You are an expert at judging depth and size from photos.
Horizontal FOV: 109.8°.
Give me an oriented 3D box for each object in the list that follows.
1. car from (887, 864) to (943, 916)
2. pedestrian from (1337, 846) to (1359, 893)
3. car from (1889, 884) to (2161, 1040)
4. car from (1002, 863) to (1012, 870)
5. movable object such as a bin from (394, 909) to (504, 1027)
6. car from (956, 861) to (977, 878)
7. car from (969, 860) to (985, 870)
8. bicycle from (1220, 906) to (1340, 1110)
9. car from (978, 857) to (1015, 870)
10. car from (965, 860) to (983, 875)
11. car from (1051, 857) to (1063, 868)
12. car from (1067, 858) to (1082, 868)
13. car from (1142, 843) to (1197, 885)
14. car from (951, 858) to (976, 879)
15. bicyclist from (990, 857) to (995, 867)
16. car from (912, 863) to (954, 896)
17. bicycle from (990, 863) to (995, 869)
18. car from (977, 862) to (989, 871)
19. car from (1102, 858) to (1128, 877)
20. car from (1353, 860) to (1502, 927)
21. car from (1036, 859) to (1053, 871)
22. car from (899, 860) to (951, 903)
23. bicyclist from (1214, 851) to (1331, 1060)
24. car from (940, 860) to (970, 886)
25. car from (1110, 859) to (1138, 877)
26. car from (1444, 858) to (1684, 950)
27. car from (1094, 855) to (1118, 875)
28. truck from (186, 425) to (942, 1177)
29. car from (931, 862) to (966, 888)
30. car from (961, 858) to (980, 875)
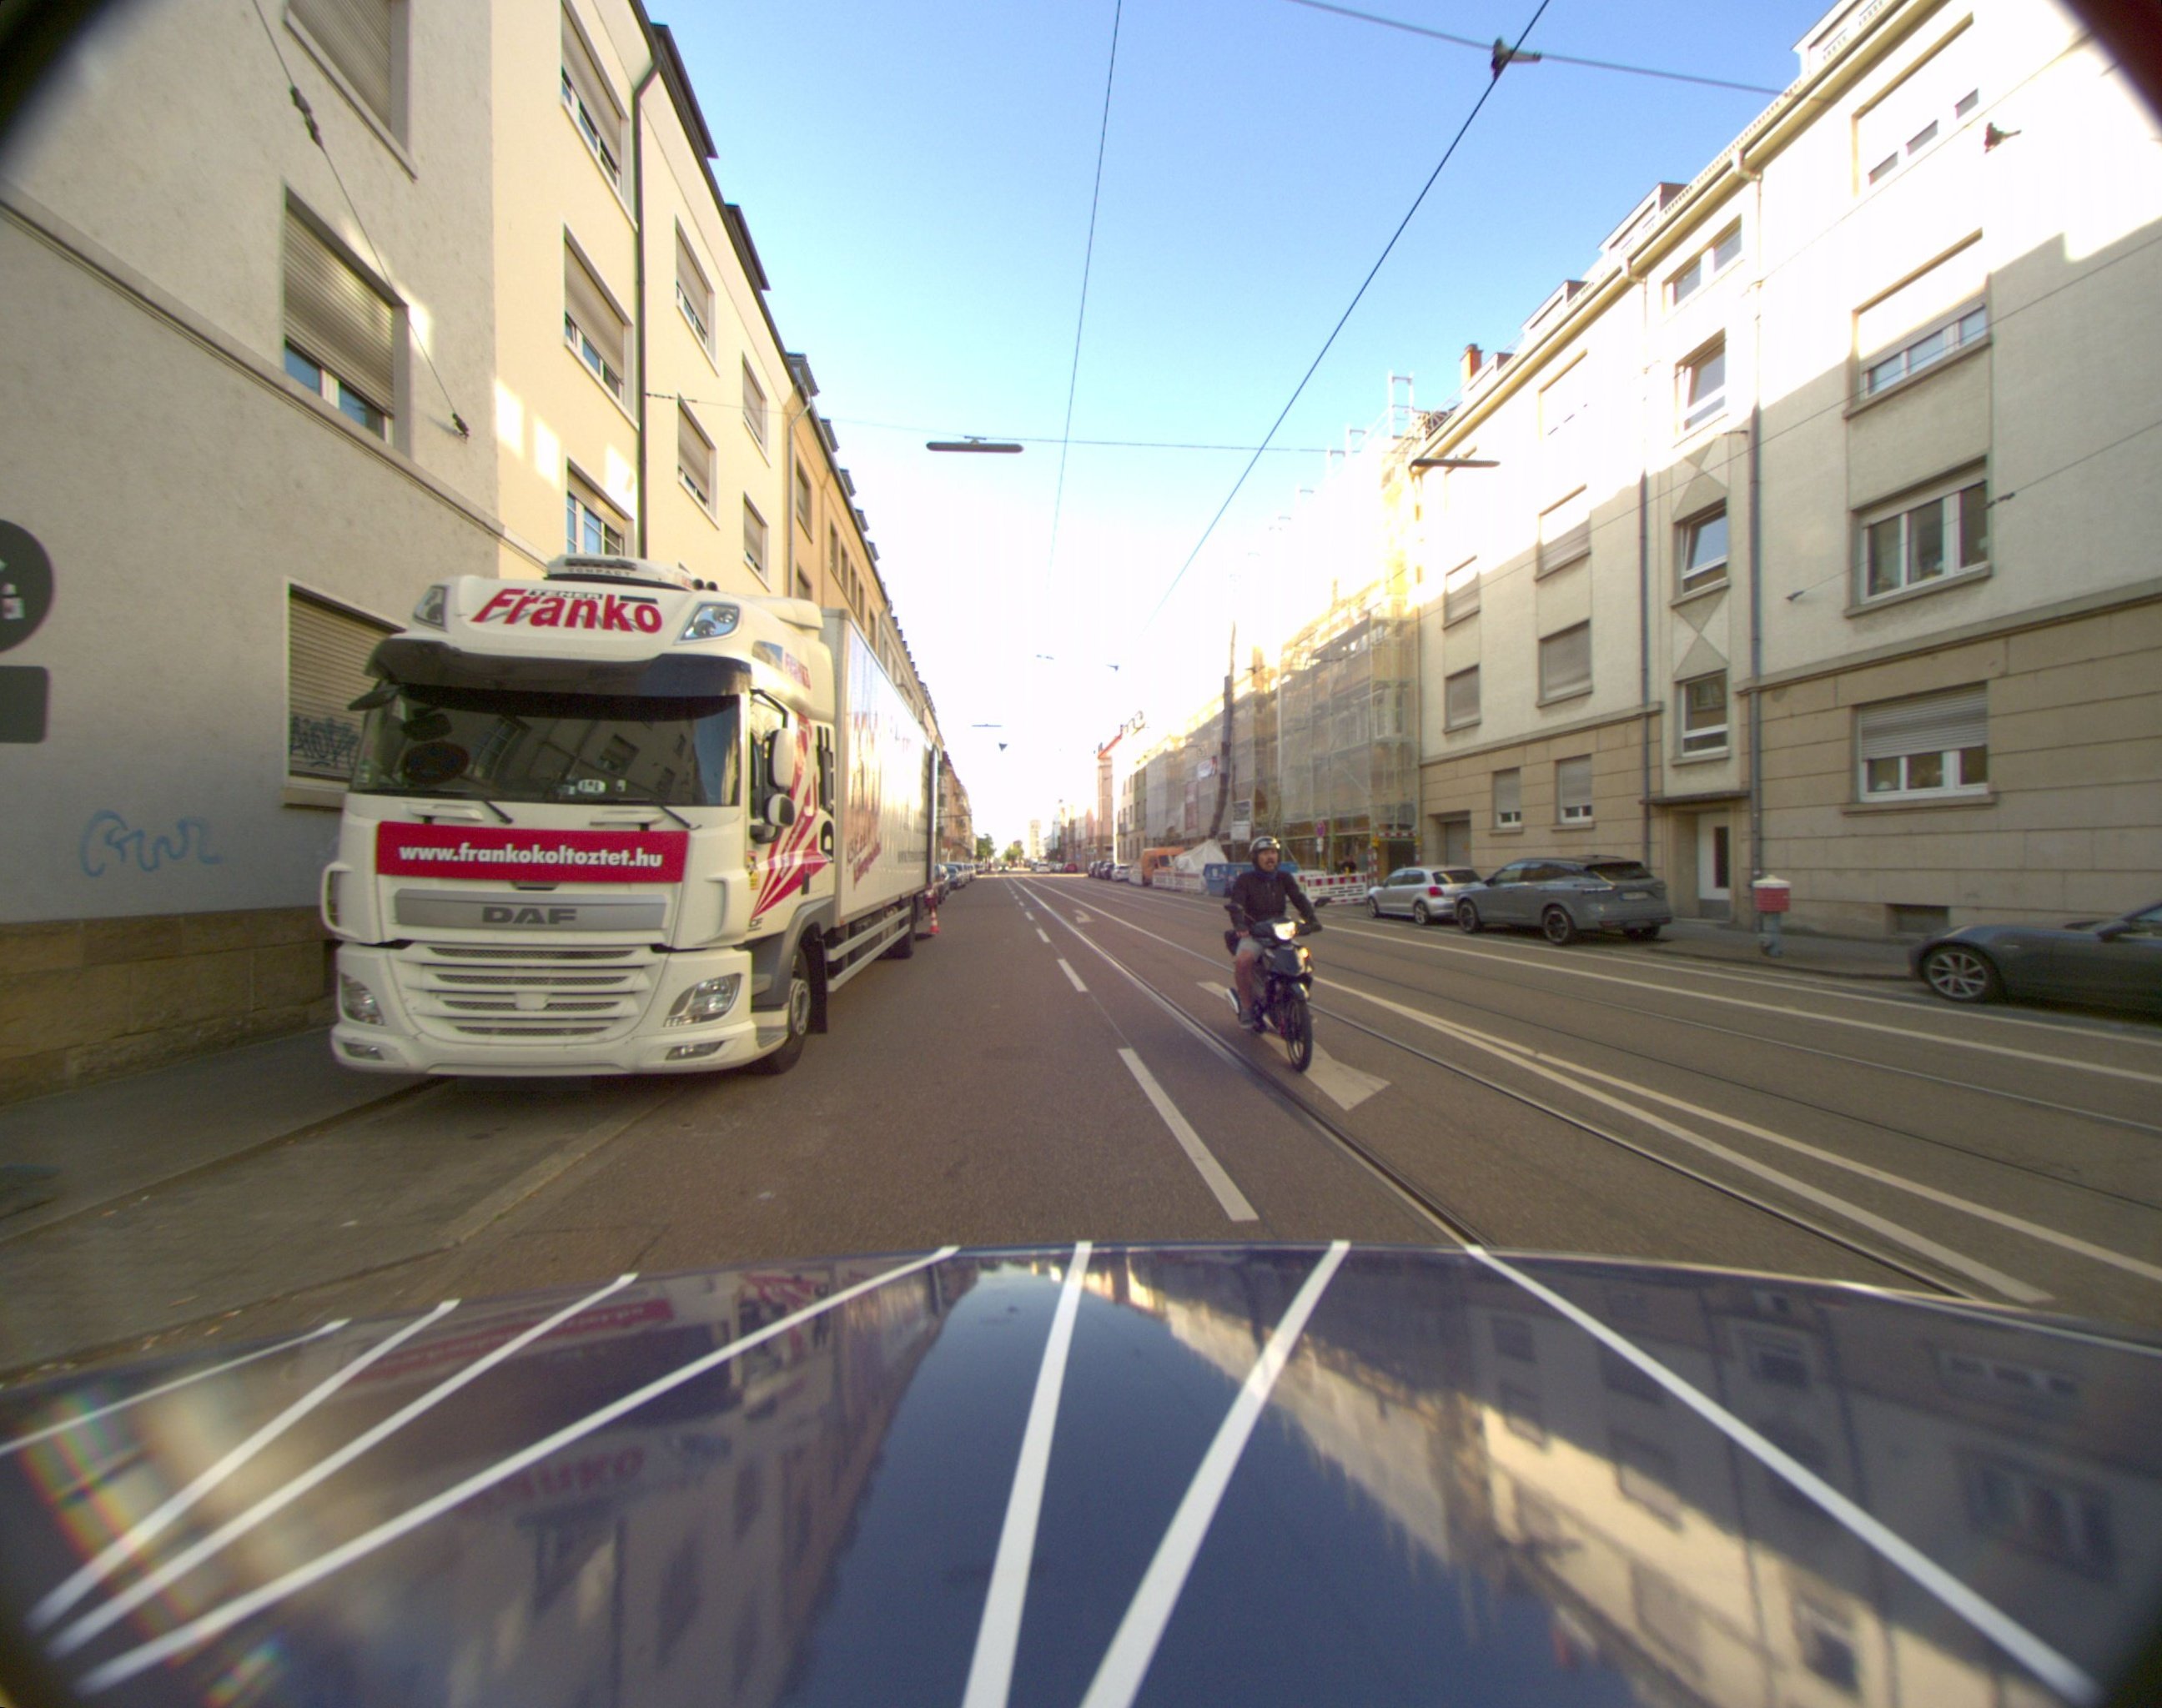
[{"bbox_3d":[-5.598,1.148,25.999,1.597,1.599,4.243,1,0,-9],"label":"car"},{"bbox_3d":[9.856,0.563,28.023,0.581,1.684,0.718,-2,1,32],"label":"pedestrian"},{"bbox_3d":[10.343,1.004,6.937,1.704,1.209,3.783,-2,1,-7],"label":"car"},{"bbox_3d":[-14.285,2.368,146.876,1.860,1.369,3.999,-1,0,-3],"label":"car"},{"bbox_3d":[-6.398,1.132,7.721,0.660,1.098,0.541,-1,0,-9],"label":"movable object such as a bin"},{"bbox_3d":[-10.468,1.374,69.821,1.704,1.496,3.861,-1,0,-5],"label":"car"},{"bbox_3d":[-14.432,1.518,105.326,2.000,1.411,3.725,0,0,-6],"label":"car"},{"bbox_3d":[1.475,1.055,5.880,0.739,1.170,1.976,0,0,11],"label":"bicycle"},{"bbox_3d":[-10.432,1.204,94.002,4.286,1.598,1.774,0,0,10],"label":"car"},{"bbox_3d":[-11.479,1.450,81.986,1.704,1.581,3.353,3,-1,-6],"label":"car"},{"bbox_3d":[-4.495,1.515,142.267,2.000,2.002,3.998,0,0,-6],"label":"car"},{"bbox_3d":[-0.966,1.310,111.757,1.799,1.494,3.767,-3,0,-7],"label":"car"},{"bbox_3d":[5.373,0.605,46.910,2.126,2.454,5.997,0,0,-6],"label":"car"},{"bbox_3d":[-9.851,1.211,64.190,1.703,1.688,4.186,1,0,-4],"label":"car"},{"bbox_3d":[-13.333,1.212,114.690,0.744,1.480,0.815,-1,0,-6],"label":"bicyclist"},{"bbox_3d":[-7.066,1.192,36.566,1.613,1.454,3.478,1,0,-5],"label":"car"},{"bbox_3d":[-13.332,1.820,114.577,0.744,0.850,1.885,-1,0,-6],"label":"bicycle"},{"bbox_3d":[-17.335,2.204,135.170,2.000,1.630,3.998,0,0,-6],"label":"car"},{"bbox_3d":[3.119,1.230,70.652,1.703,1.569,4.220,-3,0,-7],"label":"car"},{"bbox_3d":[8.861,0.937,19.855,1.704,1.407,3.997,-4,1,-6],"label":"car"},{"bbox_3d":[-5.046,1.520,104.455,1.826,1.559,4.198,-2,0,-8],"label":"car"},{"bbox_3d":[-6.451,1.083,31.799,1.795,1.642,4.363,1,0,-8],"label":"car"},{"bbox_3d":[1.503,0.756,6.094,0.843,1.545,0.850,0,0,10],"label":"bicyclist"},{"bbox_3d":[-8.611,1.274,52.186,1.714,1.683,4.587,1,0,-6],"label":"car"},{"bbox_3d":[3.619,1.137,64.599,1.752,1.502,3.998,0,0,-6],"label":"car"},{"bbox_3d":[9.373,0.870,15.254,1.704,1.558,4.403,-1,0,-6],"label":"car"},{"bbox_3d":[2.494,1.108,76.578,1.799,1.835,3.767,-3,0,-7],"label":"car"},{"bbox_3d":[-3.874,-0.251,10.086,2.868,4.049,11.773,0,0,-5],"label":"truck"},{"bbox_3d":[-7.936,1.253,45.876,1.704,1.443,4.204,1,0,-4],"label":"car"},{"bbox_3d":[-10.880,1.223,74.923,1.704,1.581,3.958,-1,0,-6],"label":"car"}]
